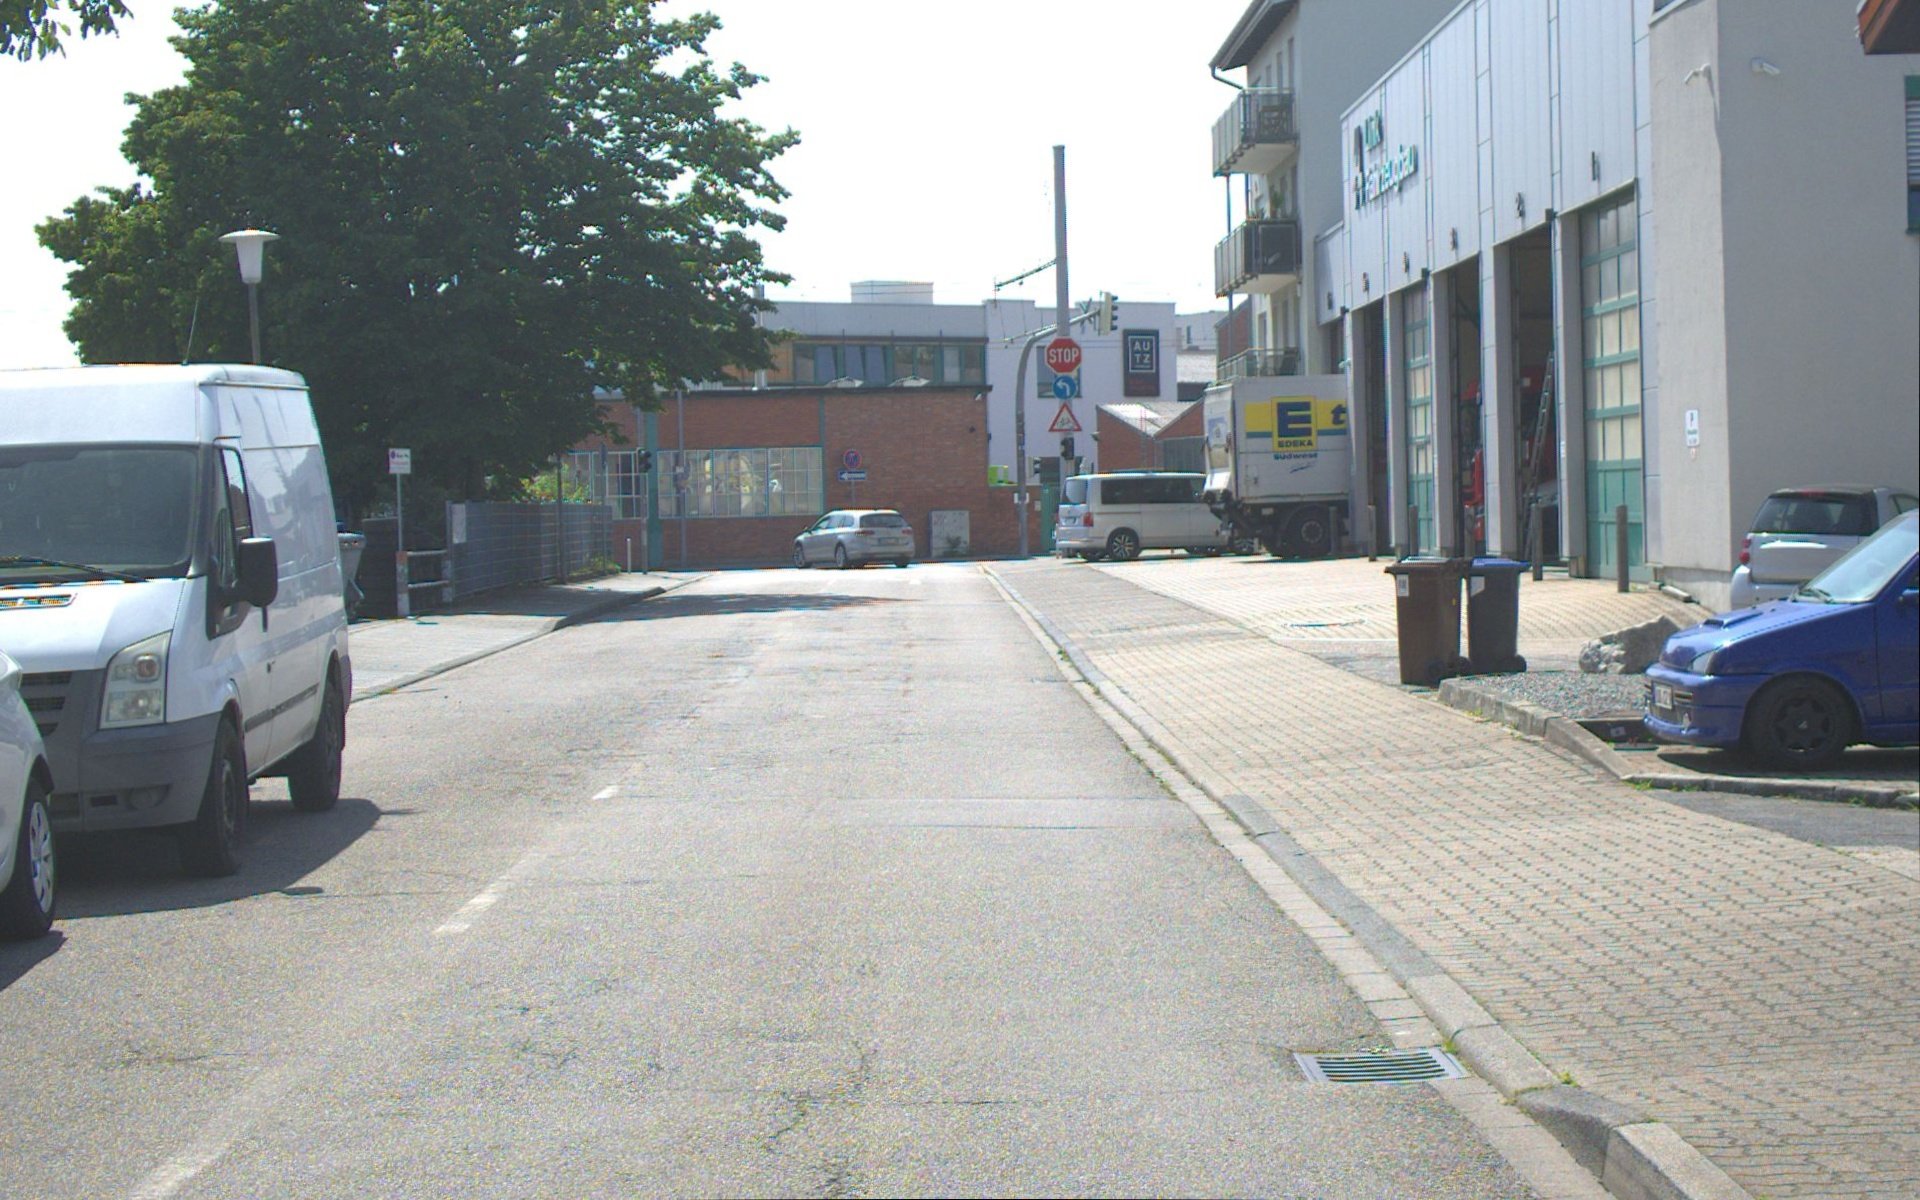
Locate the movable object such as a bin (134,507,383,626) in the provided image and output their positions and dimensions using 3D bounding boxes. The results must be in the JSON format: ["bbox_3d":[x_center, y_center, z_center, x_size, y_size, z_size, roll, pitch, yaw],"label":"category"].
[{"bbox_3d":[-9.591,-0.482,47.243,2.627,1.505,2.728,-2,2,5],"label":"movable object such as a bin"}]

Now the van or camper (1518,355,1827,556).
[{"bbox_3d":[12.139,-2.454,58.717,4.755,3.277,2.000,-1,1,-4],"label":"van or camper"}]

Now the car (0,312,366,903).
[{"bbox_3d":[-4.263,-0.004,16.521,2.005,2.358,5.230,-3,2,-2],"label":"car"}]

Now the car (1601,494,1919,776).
[{"bbox_3d":[5.206,0.134,18.278,3.253,1.394,1.673,-1,1,0],"label":"car"}]

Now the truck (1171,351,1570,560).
[{"bbox_3d":[8.236,-2.907,69.455,7.357,3.632,2.768,-4,2,-6],"label":"truck"}]

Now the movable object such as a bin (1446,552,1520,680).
[{"bbox_3d":[4.006,0.120,26.301,0.514,0.943,0.487,-2,2,11],"label":"movable object such as a bin"}]

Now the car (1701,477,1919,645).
[{"bbox_3d":[9.063,-0.426,34.042,1.777,1.534,3.694,-1,2,41],"label":"car"}]

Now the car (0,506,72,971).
[{"bbox_3d":[-4.169,0.526,11.354,1.704,1.618,3.974,-3,1,-5],"label":"car"}]

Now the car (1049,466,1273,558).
[{"bbox_3d":[4.550,-2.006,77.873,4.653,1.951,1.917,-2,2,-19],"label":"car"}]

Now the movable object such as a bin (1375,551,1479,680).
[{"bbox_3d":[3.517,0.114,25.888,0.568,0.943,0.556,-1,2,33],"label":"movable object such as a bin"}]

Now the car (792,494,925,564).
[{"bbox_3d":[-2.586,-1.809,86.771,1.890,1.679,3.959,0,2,-26],"label":"car"}]

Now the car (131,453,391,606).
[{"bbox_3d":[-12.001,-1.218,59.194,4.085,2.504,1.777,-1,2,-2],"label":"car"}]
